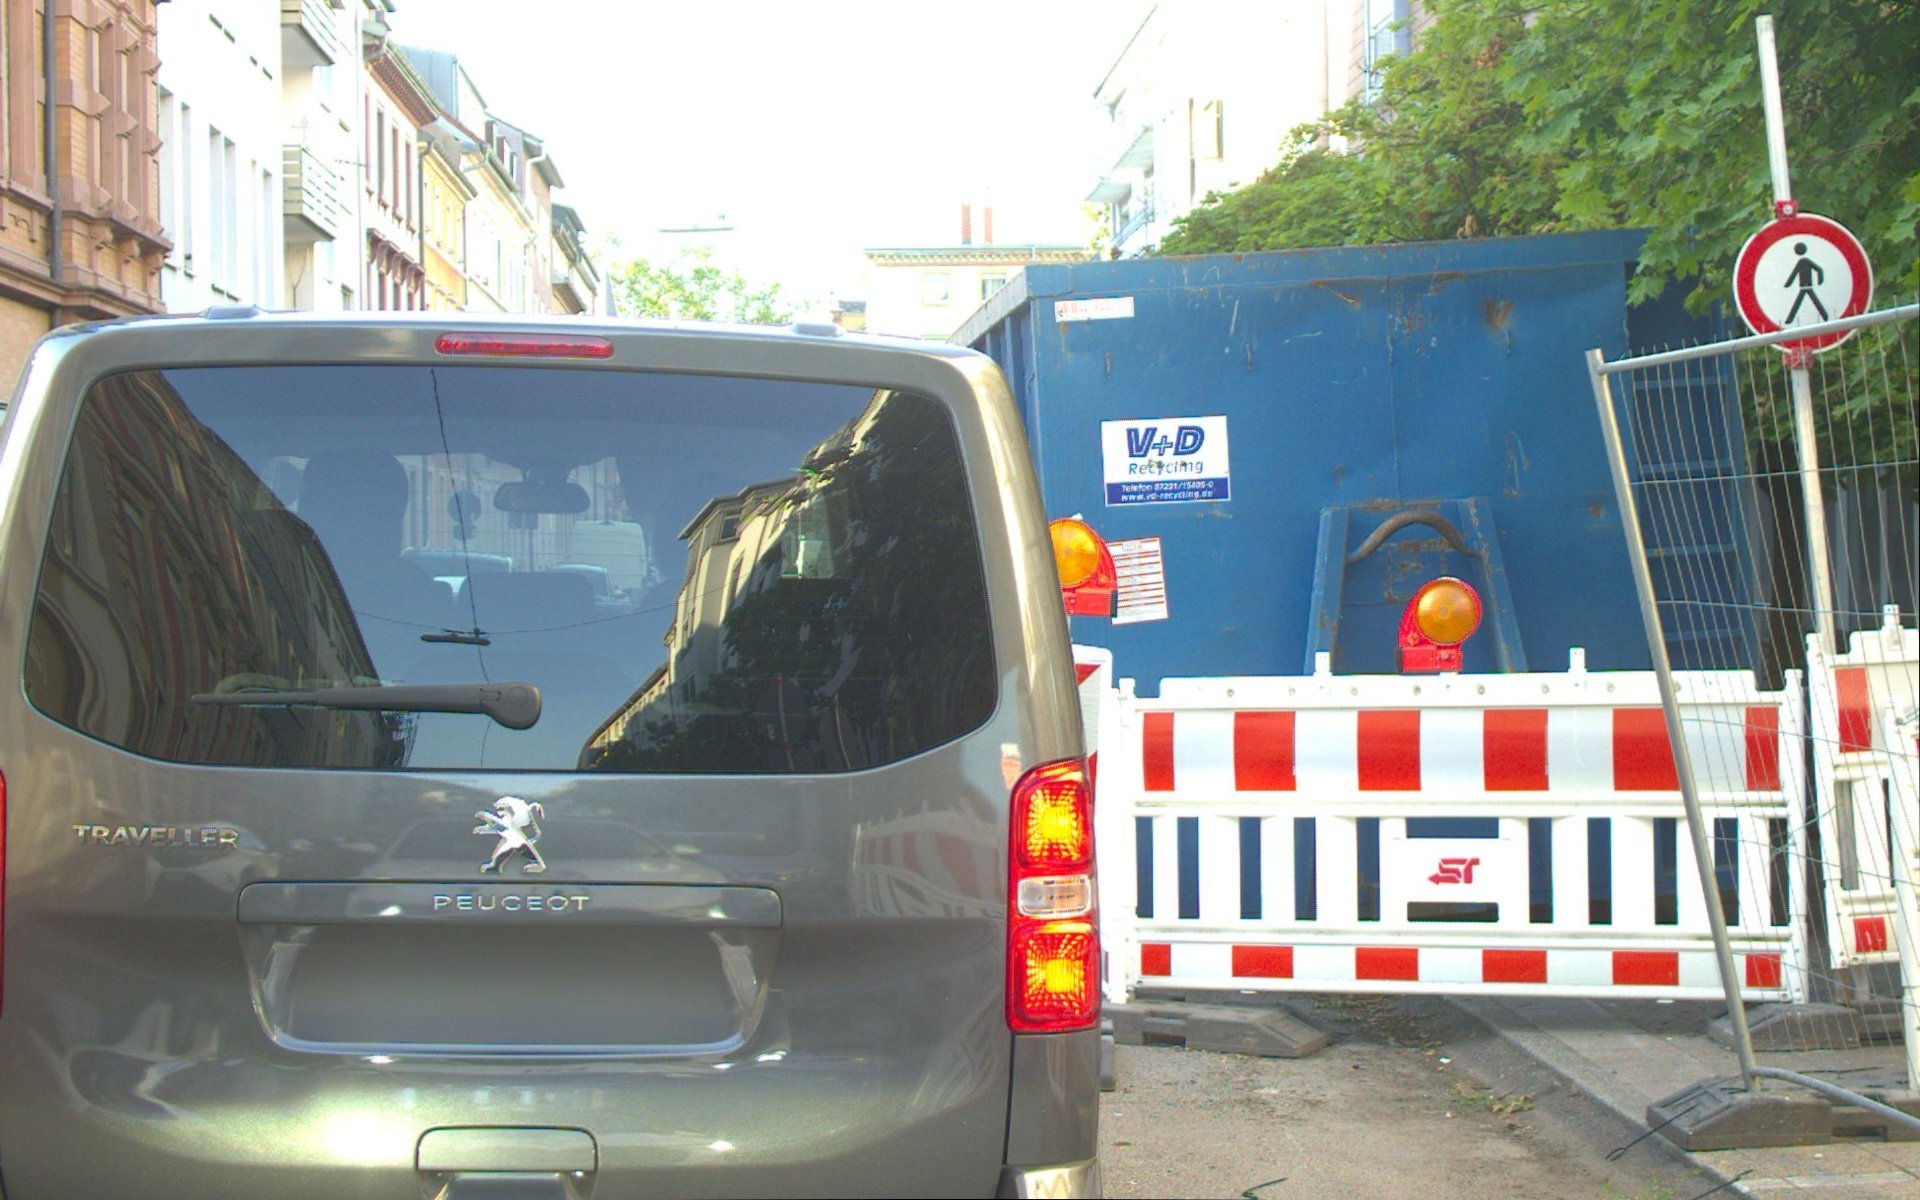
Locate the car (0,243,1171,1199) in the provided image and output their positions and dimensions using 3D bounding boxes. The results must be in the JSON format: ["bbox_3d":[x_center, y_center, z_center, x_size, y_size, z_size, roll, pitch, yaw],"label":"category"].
[{"bbox_3d":[-0.877,0.455,6.773,1.865,1.880,4.236,0,0,-7],"label":"car"}]

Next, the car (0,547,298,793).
[{"bbox_3d":[-5.742,0.460,24.503,1.655,1.520,3.418,4,0,-7],"label":"car"}]

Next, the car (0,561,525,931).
[{"bbox_3d":[-3.096,0.603,15.629,1.656,1.455,3.417,-2,0,2],"label":"car"}]

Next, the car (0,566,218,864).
[{"bbox_3d":[-5.205,0.560,19.196,1.655,1.455,3.418,4,0,-7],"label":"car"}]

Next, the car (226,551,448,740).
[{"bbox_3d":[-6.319,0.438,35.229,1.891,1.714,3.755,4,0,-7],"label":"car"}]

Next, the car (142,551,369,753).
[{"bbox_3d":[-6.417,0.451,31.584,1.666,1.660,3.092,4,0,-7],"label":"car"}]
